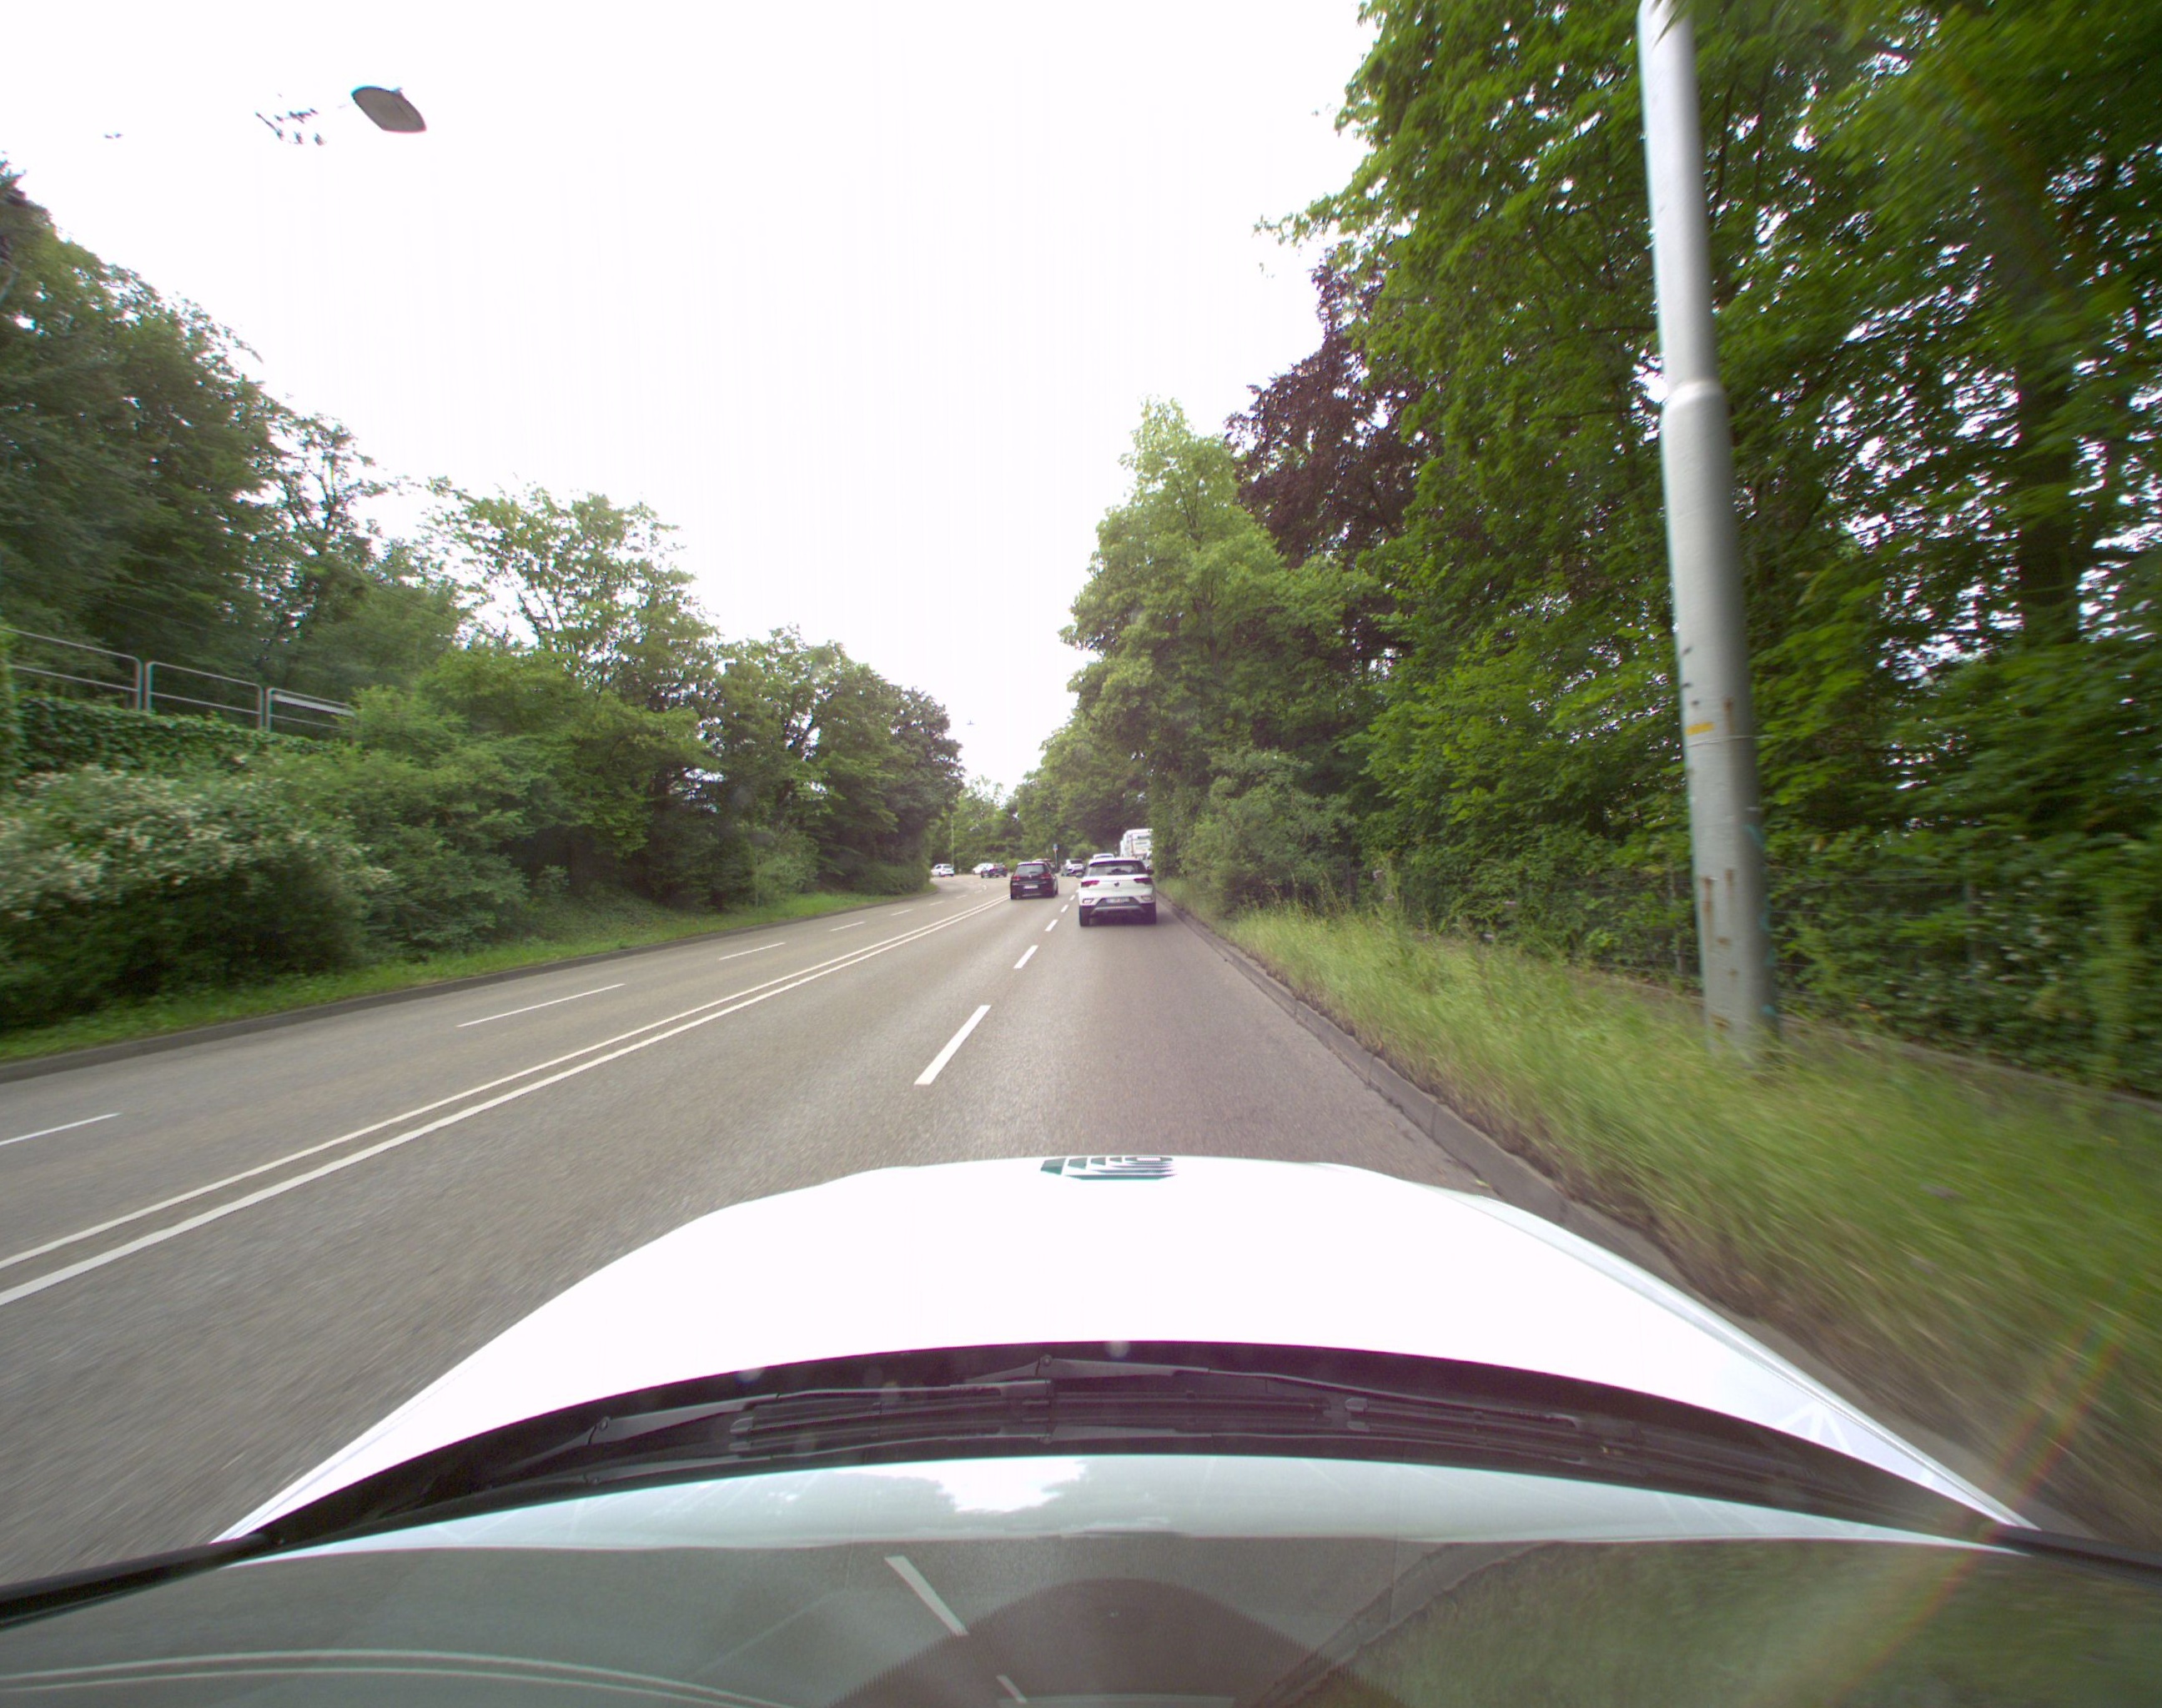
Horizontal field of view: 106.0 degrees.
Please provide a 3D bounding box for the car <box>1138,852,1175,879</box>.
[{"bbox_3d":[4.642,0.731,50.321,1.798,1.524,3.998,-2,-1,-1],"label":"car"}]

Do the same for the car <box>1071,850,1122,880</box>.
[{"bbox_3d":[0.952,0.715,51.637,1.858,1.702,3.973,-4,0,-20],"label":"car"}]

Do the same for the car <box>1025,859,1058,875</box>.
[{"bbox_3d":[-4.086,1.321,83.698,1.777,1.607,3.960,0,-1,-31],"label":"car"}]

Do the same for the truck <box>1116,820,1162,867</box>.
[{"bbox_3d":[4.196,-0.683,60.168,2.477,3.182,7.219,-1,-1,-4],"label":"truck"}]

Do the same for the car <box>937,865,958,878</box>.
[{"bbox_3d":[-16.229,2.113,99.103,1.815,1.623,4.001,-1,-1,2],"label":"car"}]

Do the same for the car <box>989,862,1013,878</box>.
[{"bbox_3d":[-8.340,1.629,84.867,1.986,1.592,4.001,-1,-1,2],"label":"car"}]

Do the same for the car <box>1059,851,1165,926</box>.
[{"bbox_3d":[0.635,0.789,19.706,1.998,1.596,3.991,-1,-1,-6],"label":"car"}]

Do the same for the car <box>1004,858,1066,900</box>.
[{"bbox_3d":[-1.822,1.001,33.287,1.941,1.466,4.004,-5,-1,4],"label":"car"}]
